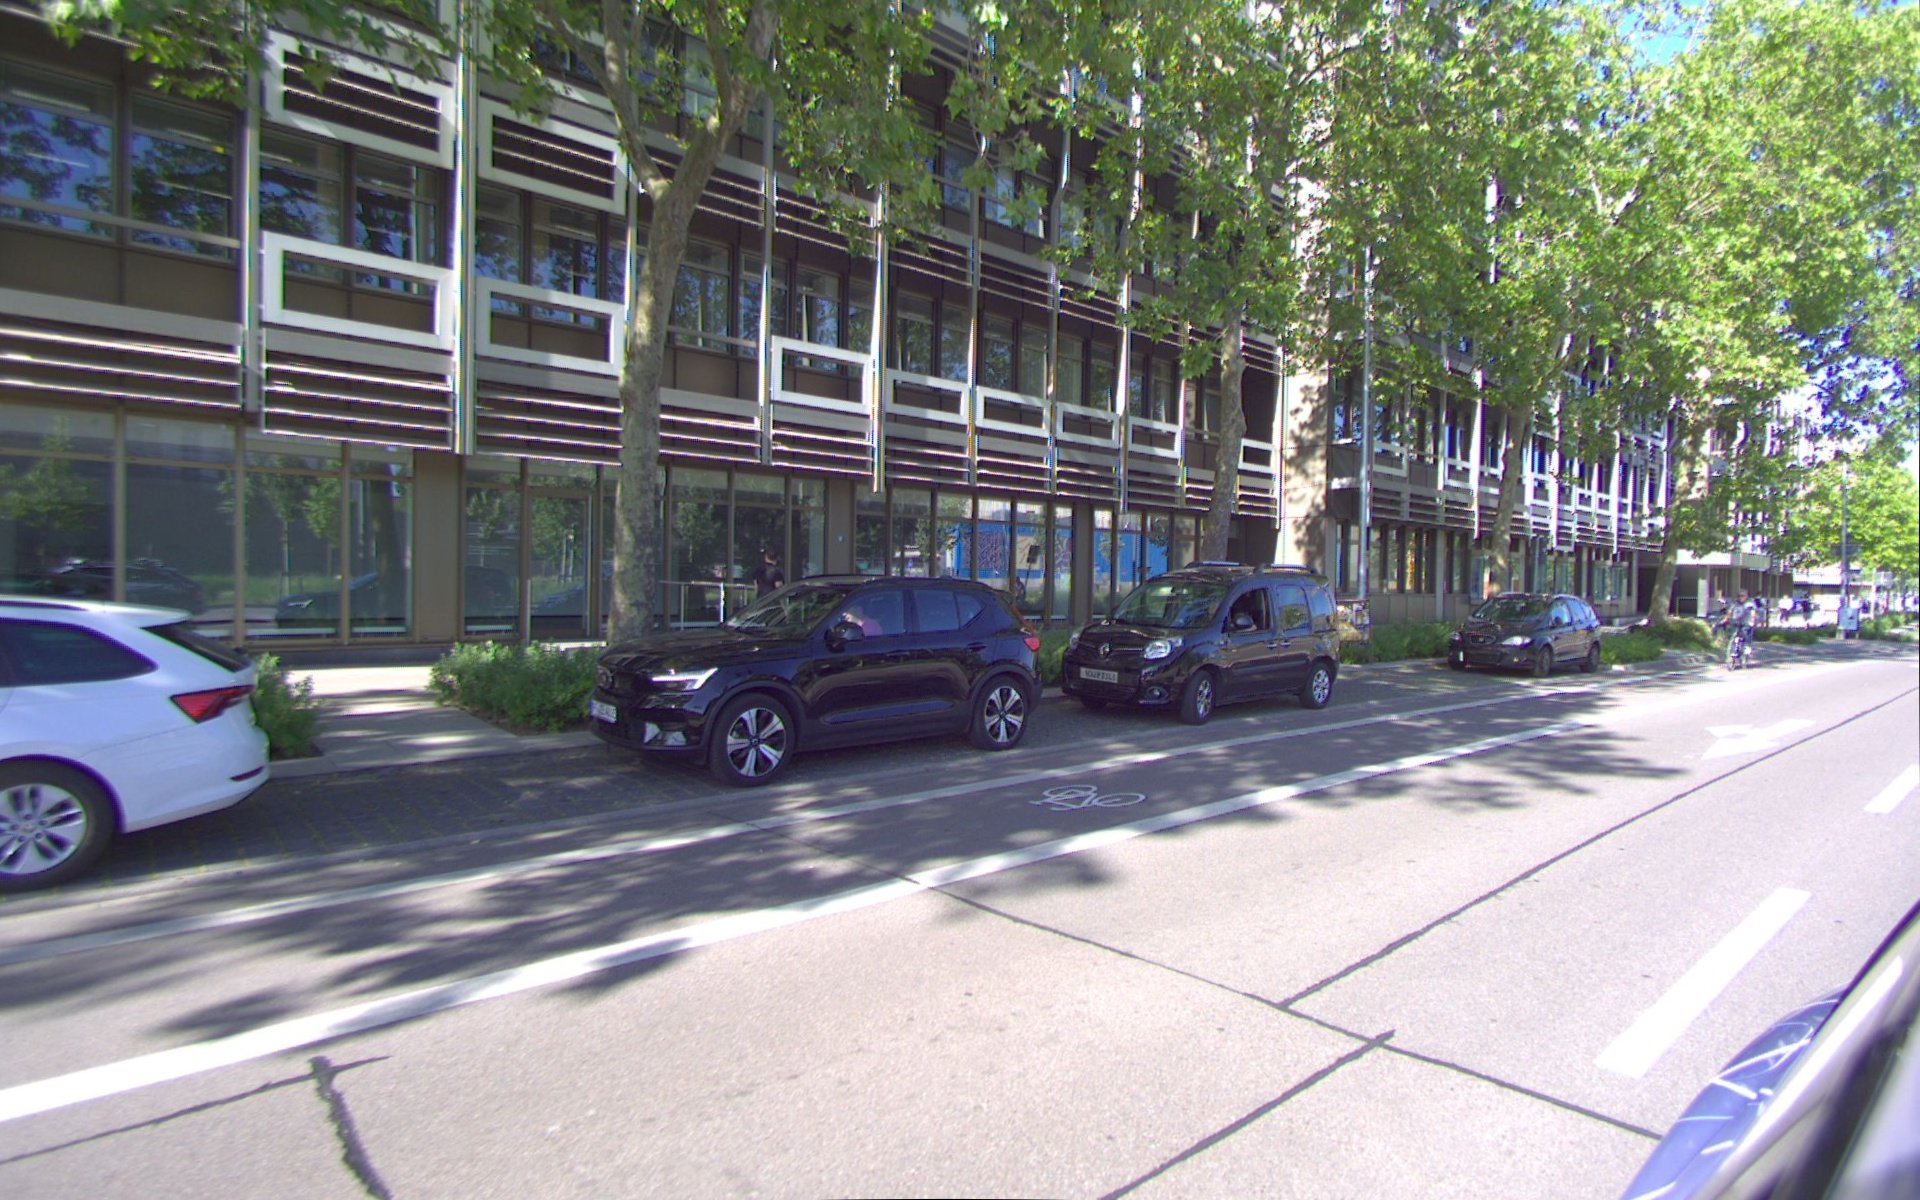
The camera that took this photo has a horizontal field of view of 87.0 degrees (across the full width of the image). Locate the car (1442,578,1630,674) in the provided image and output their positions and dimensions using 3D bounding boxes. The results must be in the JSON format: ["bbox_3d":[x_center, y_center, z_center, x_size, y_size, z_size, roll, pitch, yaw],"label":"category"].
[{"bbox_3d":[11.617,0.466,20.290,4.552,1.663,1.708,0,3,-39],"label":"car"}]

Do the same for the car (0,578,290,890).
[{"bbox_3d":[-6.033,0.638,4.865,4.520,1.511,1.707,0,1,-41],"label":"car"}]

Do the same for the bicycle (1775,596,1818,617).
[{"bbox_3d":[48.913,0.379,59.191,0.419,1.111,1.863,0,3,-39],"label":"bicycle"}]

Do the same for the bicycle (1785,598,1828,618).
[{"bbox_3d":[50.143,0.470,59.970,0.419,1.023,1.863,0,3,-39],"label":"bicycle"}]

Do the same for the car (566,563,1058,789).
[{"bbox_3d":[-1.163,0.507,9.095,4.119,1.583,1.707,0,1,-41],"label":"car"}]

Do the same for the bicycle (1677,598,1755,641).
[{"bbox_3d":[24.578,0.610,32.932,0.569,1.252,1.939,0,2,-43],"label":"bicycle"}]

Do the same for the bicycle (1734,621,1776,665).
[{"bbox_3d":[17.690,0.935,22.501,0.497,0.917,2.161,-1,-1,44],"label":"bicycle"}]

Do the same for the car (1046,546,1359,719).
[{"bbox_3d":[3.162,0.319,12.749,4.119,1.812,1.708,0,3,-41],"label":"car"}]

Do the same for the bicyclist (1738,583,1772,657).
[{"bbox_3d":[17.679,0.439,22.502,0.513,1.621,0.528,1,1,45],"label":"bicyclist"}]

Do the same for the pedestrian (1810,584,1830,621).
[{"bbox_3d":[41.833,0.110,49.233,0.789,1.749,0.648,1,0,-42],"label":"pedestrian"}]

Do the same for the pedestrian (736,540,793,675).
[{"bbox_3d":[-2.899,0.107,15.007,0.547,1.941,0.678,-1,-1,-40],"label":"pedestrian"}]

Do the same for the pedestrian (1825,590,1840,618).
[{"bbox_3d":[47.109,0.214,54.637,0.723,1.493,0.511,0,0,-42],"label":"pedestrian"}]

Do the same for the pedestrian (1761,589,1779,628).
[{"bbox_3d":[36.029,0.385,45.017,0.760,1.722,0.511,1,0,-42],"label":"pedestrian"}]
